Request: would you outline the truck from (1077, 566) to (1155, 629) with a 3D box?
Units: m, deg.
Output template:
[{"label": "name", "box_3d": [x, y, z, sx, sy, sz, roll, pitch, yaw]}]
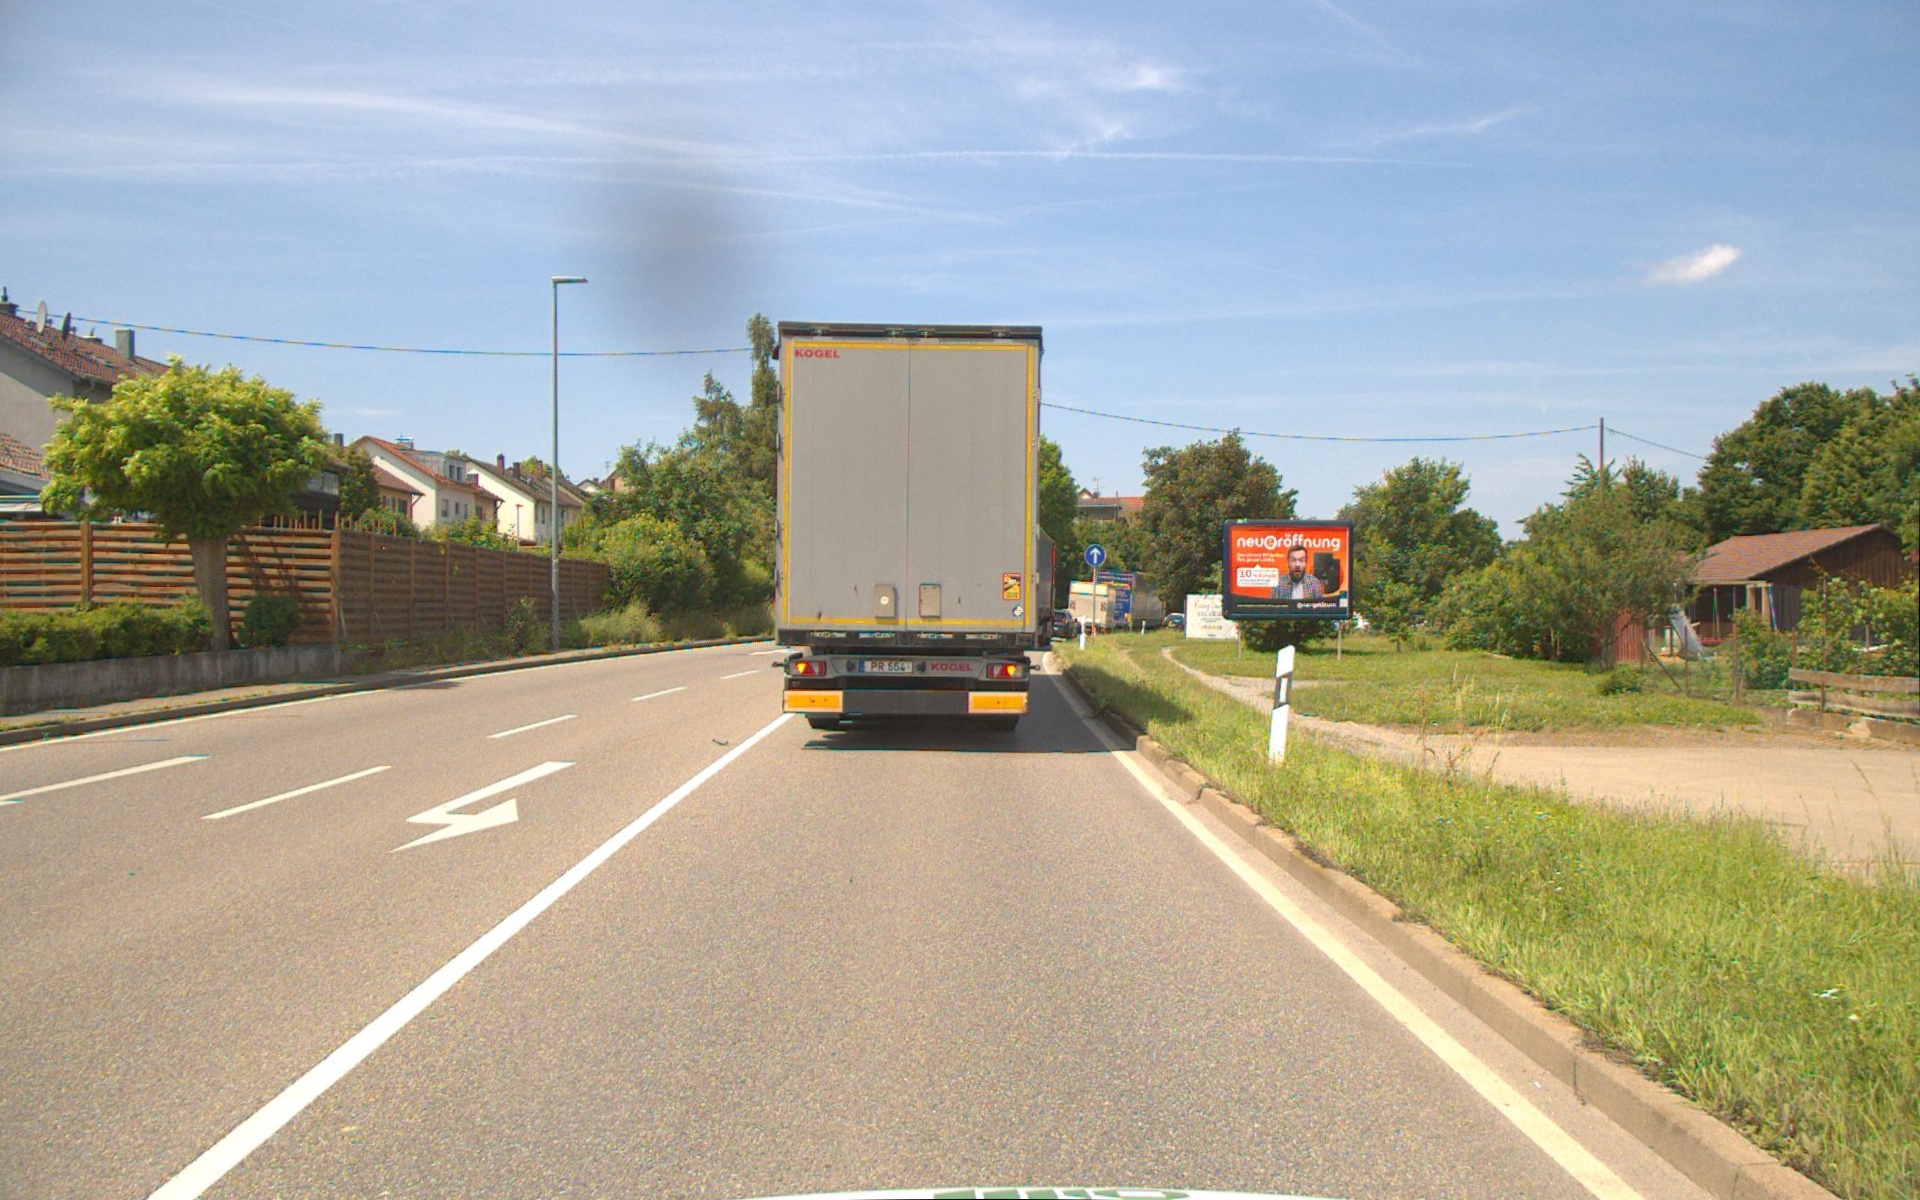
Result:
[{"label": "truck", "box_3d": [9.872, -0.193, 103.434, 3.360, 3.667, 9.361, 1, 1, 15]}]

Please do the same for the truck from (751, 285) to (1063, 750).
[{"label": "truck", "box_3d": [-0.595, -0.762, 20.923, 2.765, 4.200, 11.440, 1, 0, -1]}]

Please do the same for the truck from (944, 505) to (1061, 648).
[{"label": "truck", "box_3d": [1.809, -0.623, 59.249, 2.702, 4.364, 16.425, 1, -1, 6]}]

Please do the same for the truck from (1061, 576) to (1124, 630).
[{"label": "truck", "box_3d": [7.378, 0.188, 91.579, 2.489, 2.852, 6.036, 1, -1, 14]}]

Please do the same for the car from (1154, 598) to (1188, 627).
[{"label": "car", "box_3d": [15.922, 0.949, 124.808, 1.951, 2.049, 4.002, 1, -1, 15]}]

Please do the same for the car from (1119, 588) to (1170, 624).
[{"label": "car", "box_3d": [12.607, 0.374, 112.730, 2.478, 2.317, 6.385, 1, 0, 15]}]

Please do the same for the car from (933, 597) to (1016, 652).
[{"label": "car", "box_3d": [0.444, 0.658, 44.572, 1.780, 1.370, 3.850, 1, -1, 7]}]

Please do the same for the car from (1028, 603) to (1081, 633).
[{"label": "car", "box_3d": [4.579, 0.875, 79.424, 1.951, 1.400, 4.003, 1, -1, 11]}]

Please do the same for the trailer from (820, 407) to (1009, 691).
[{"label": "trailer", "box_3d": [-0.675, -0.778, 27.884, 2.767, 4.183, 6.544, 1, 0, 0]}]
